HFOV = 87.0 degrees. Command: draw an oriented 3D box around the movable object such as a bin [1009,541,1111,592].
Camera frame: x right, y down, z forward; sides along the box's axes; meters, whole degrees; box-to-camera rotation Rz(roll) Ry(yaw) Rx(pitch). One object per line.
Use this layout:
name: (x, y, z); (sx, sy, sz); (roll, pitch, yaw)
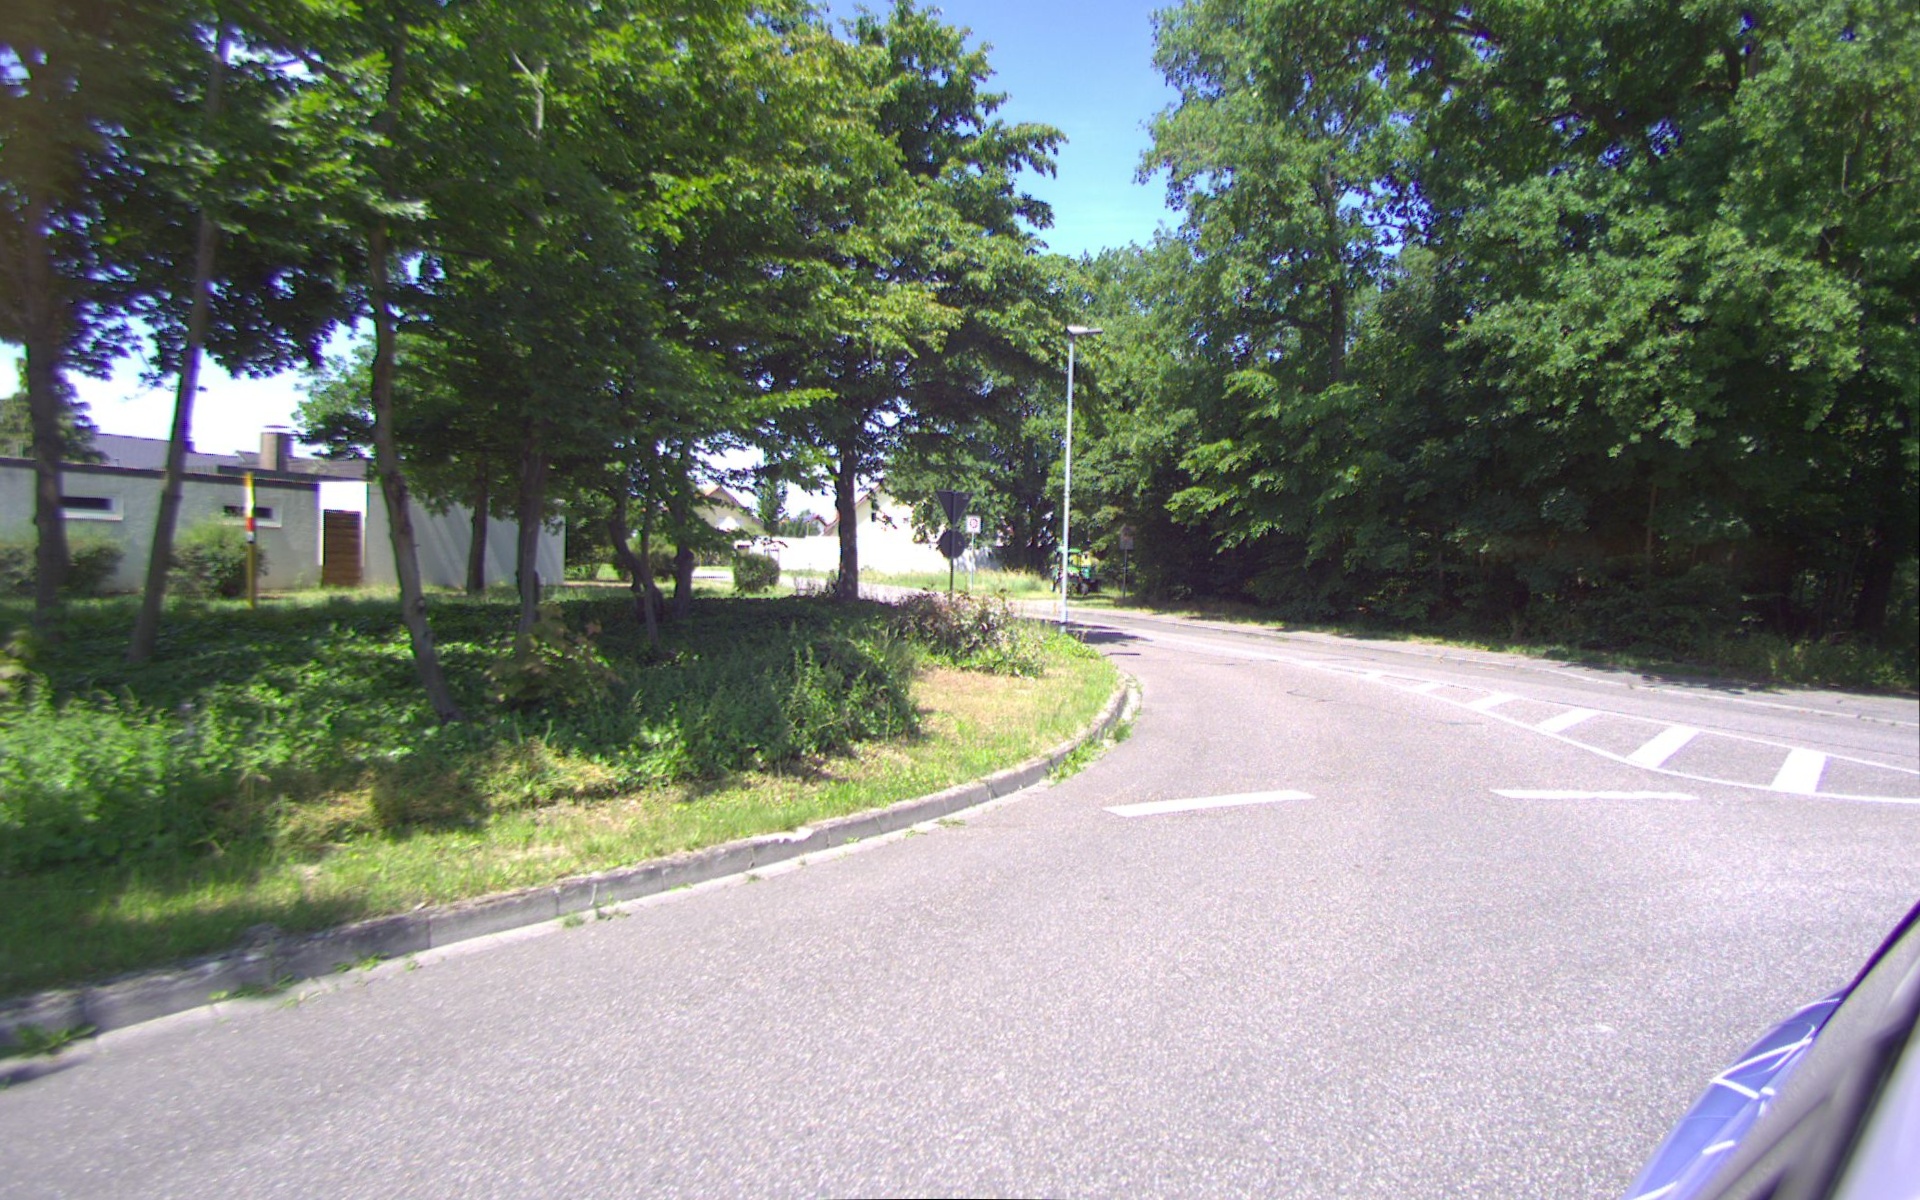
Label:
movable object such as a bin: (4.805, -1.674, 49.635); (2.471, 2.304, 5.250); (1, 3, -26)
